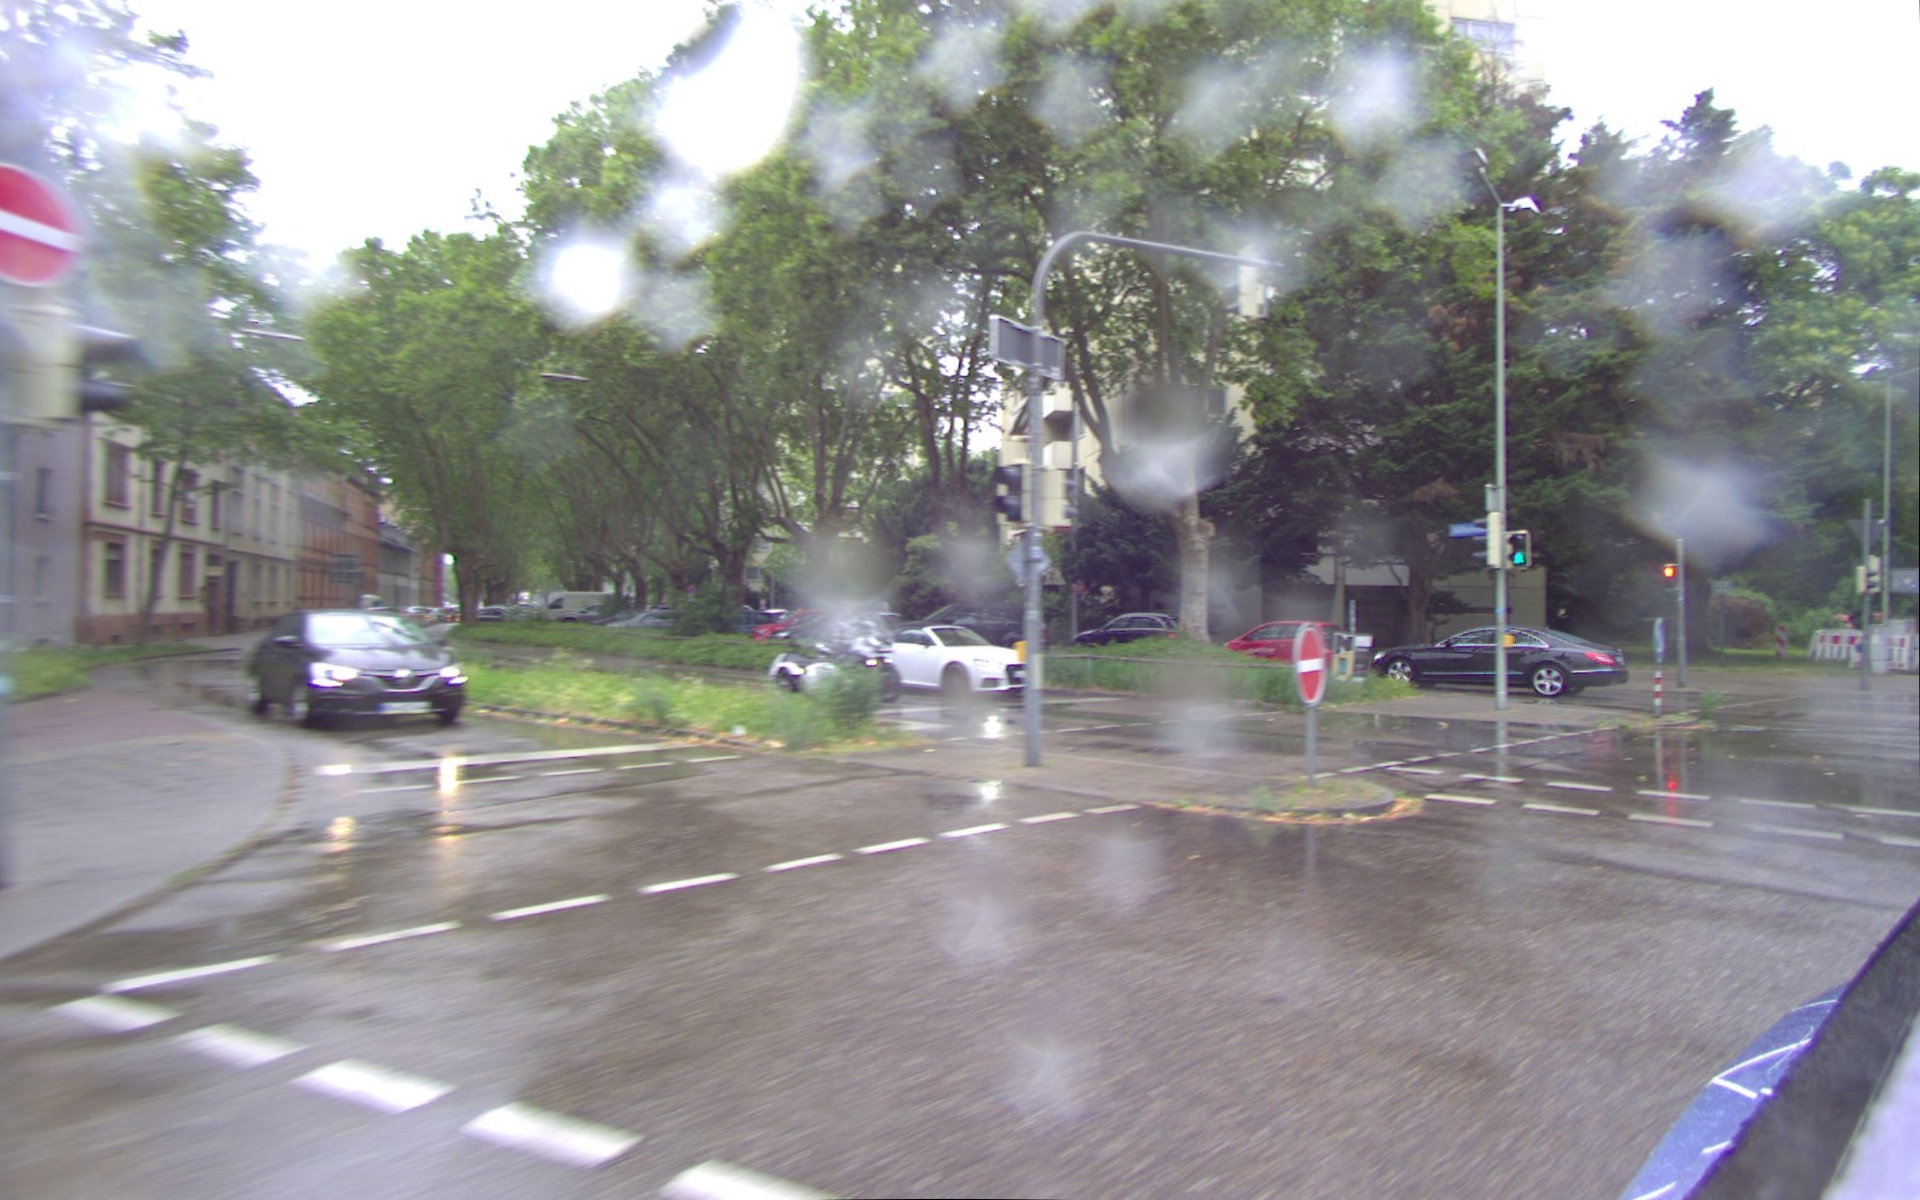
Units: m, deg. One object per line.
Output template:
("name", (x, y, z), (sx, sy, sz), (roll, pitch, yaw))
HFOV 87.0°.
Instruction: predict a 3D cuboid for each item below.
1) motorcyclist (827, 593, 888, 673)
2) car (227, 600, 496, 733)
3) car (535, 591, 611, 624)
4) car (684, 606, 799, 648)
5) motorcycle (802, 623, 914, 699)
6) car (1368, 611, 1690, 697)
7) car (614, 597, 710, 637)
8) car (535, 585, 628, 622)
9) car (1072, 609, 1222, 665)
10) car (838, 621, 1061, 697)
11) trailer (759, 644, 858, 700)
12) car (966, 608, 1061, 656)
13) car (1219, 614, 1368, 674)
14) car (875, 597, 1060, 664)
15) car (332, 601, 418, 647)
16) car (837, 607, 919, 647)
("motorcyclist", (-1.796, 0.569, 17.764), (0.745, 1.368, 0.752), (2, -2, -45))
("car", (-8.009, 0.755, 13.388), (4.163, 1.480, 1.963), (0, -1, 43))
("car", (-32.918, 0.642, 86.143), (5.872, 2.683, 1.995), (0, -1, 9))
("car", (-8.079, 0.998, 37.440), (3.764, 1.440, 1.889), (1, 0, -27))
("motorcycle", (-1.808, 1.024, 17.748), (0.867, 1.230, 2.069), (2, -2, -44))
("car", (11.579, 1.013, 20.847), (5.505, 1.537, 2.225), (0, -1, 40))
("car", (-13.058, 0.746, 44.541), (3.916, 1.676, 2.004), (1, -1, -14))
("car", (-25.391, 0.234, 67.987), (5.516, 2.432, 2.226), (0, -1, 11))
("car", (5.761, 1.096, 31.559), (1.905, 1.628, 4.450), (1, -1, -39))
("car", (-0.273, 1.059, 19.640), (4.154, 1.292, 1.875), (-1, -2, 41))
("trailer", (-2.576, 1.191, 17.151), (1.010, 0.852, 1.479), (2, -2, -43))
("car", (1.873, 1.106, 36.306), (1.804, 1.616, 3.488), (1, -1, -31))
("car", (9.092, 1.158, 27.760), (1.810, 1.544, 3.454), (1, -1, -42))
("car", (0.164, 0.797, 26.659), (4.506, 1.685, 1.878), (1, -1, -15))
("car", (-27.429, 1.114, 47.442), (3.974, 2.040, 1.974), (0, -2, 36))
("car", (-3.651, 1.169, 44.502), (1.895, 1.654, 4.000), (1, -1, -34))
